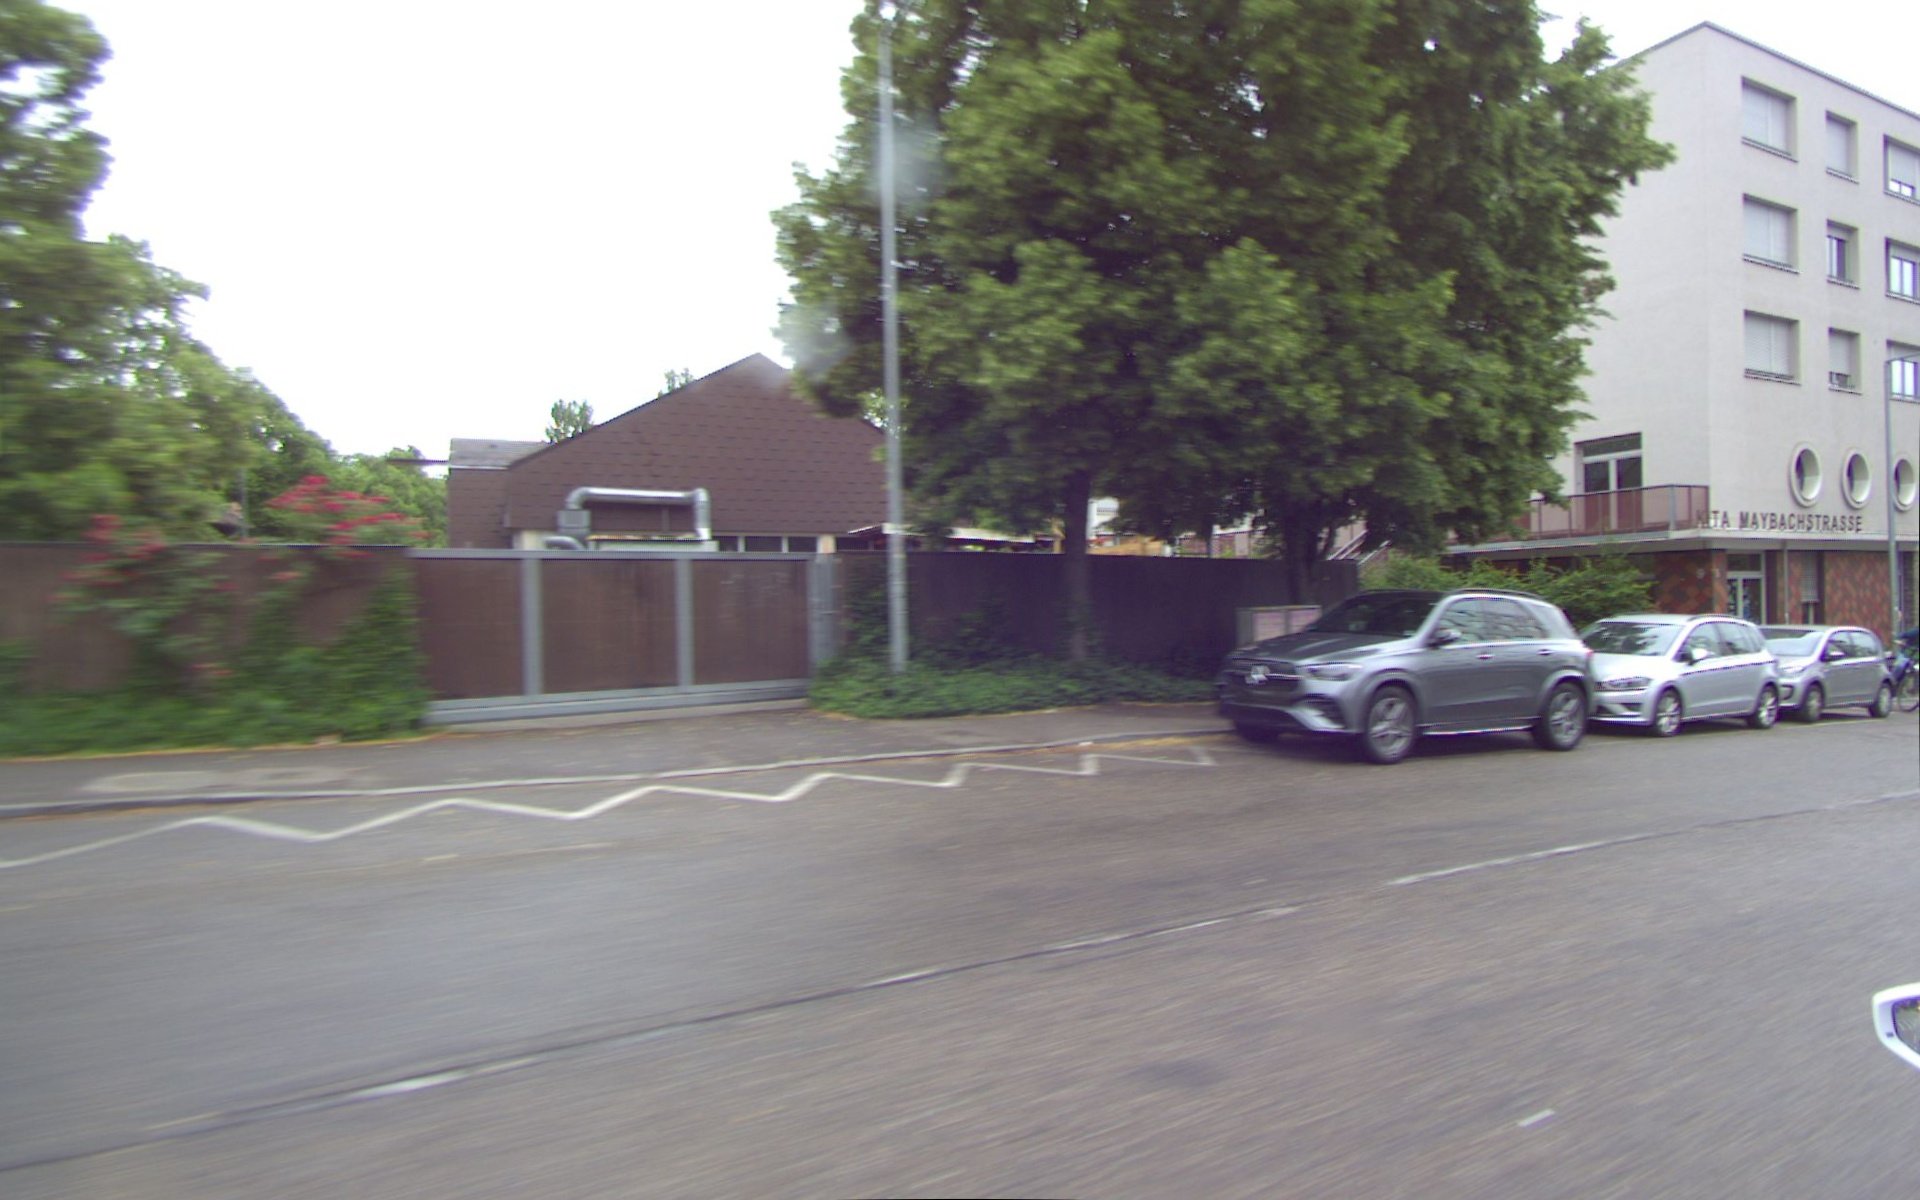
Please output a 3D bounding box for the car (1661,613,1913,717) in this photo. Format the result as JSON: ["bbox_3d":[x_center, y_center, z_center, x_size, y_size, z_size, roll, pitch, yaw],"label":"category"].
[{"bbox_3d":[13.564,1.019,16.467,3.799,1.482,1.872,2,0,-28],"label":"car"}]

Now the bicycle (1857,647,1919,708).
[{"bbox_3d":[16.934,1.357,17.940,2.231,0.992,0.797,2,0,-34],"label":"bicycle"}]

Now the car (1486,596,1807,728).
[{"bbox_3d":[9.847,0.826,14.365,4.435,1.614,1.981,2,0,-29],"label":"car"}]

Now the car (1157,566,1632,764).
[{"bbox_3d":[4.975,0.651,11.301,5.343,1.810,1.985,2,0,-28],"label":"car"}]

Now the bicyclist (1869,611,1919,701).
[{"bbox_3d":[17.020,0.986,18.007,1.189,1.543,0.796,2,0,-34],"label":"bicyclist"}]
